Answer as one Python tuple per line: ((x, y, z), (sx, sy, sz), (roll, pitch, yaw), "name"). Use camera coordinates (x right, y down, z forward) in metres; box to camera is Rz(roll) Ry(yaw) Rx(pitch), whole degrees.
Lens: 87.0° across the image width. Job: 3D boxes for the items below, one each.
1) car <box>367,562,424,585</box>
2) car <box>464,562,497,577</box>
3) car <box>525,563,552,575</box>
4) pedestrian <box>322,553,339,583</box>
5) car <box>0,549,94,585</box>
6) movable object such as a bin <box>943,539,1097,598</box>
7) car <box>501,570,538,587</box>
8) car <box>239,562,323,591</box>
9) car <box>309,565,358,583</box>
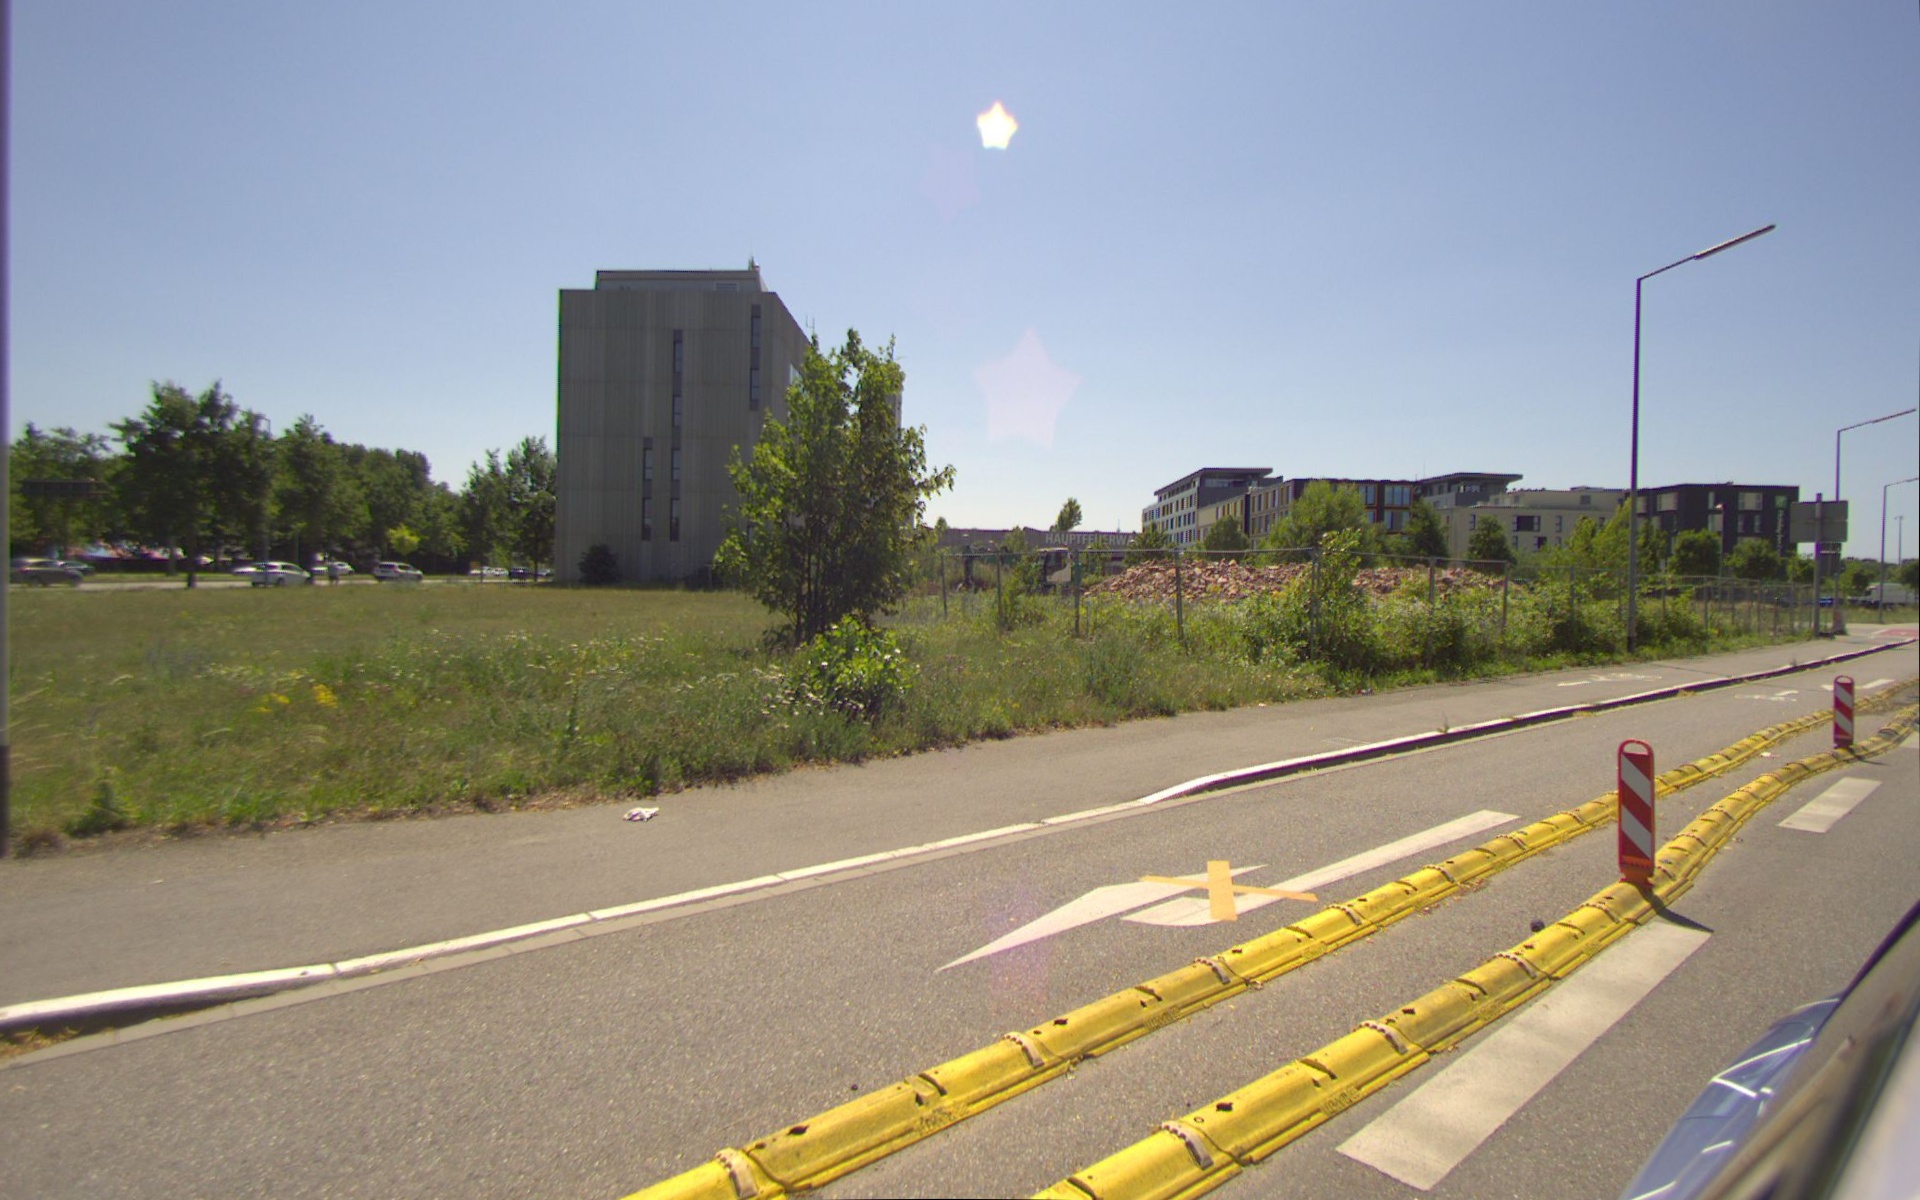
((-44.659, -2.057, 80.174), (1.962, 1.757, 4.645), (0, 0, -1), "car")
((-57.864, -3.664, 122.212), (1.814, 1.612, 4.443), (0, 0, 1), "car")
((-57.526, -4.202, 138.298), (1.814, 1.612, 4.443), (0, 0, 1), "car")
((-33.911, -1.714, 54.536), (0.652, 1.611, 0.557), (0, 0, -15), "pedestrian")
((-47.700, -1.671, 52.285), (1.962, 1.757, 4.645), (0, 0, -1), "car")
((3.181, -1.598, 53.343), (7.537, 2.952, 3.242), (-1, 0, -26), "movable object such as a bin")
((-47.035, -2.312, 108.069), (1.962, 1.757, 4.645), (0, 0, -1), "car")
((-42.563, -1.433, 63.548), (1.964, 1.757, 4.639), (0, 0, 4), "car")
((-58.690, -2.404, 94.919), (1.814, 1.612, 4.443), (0, 0, 1), "car")
